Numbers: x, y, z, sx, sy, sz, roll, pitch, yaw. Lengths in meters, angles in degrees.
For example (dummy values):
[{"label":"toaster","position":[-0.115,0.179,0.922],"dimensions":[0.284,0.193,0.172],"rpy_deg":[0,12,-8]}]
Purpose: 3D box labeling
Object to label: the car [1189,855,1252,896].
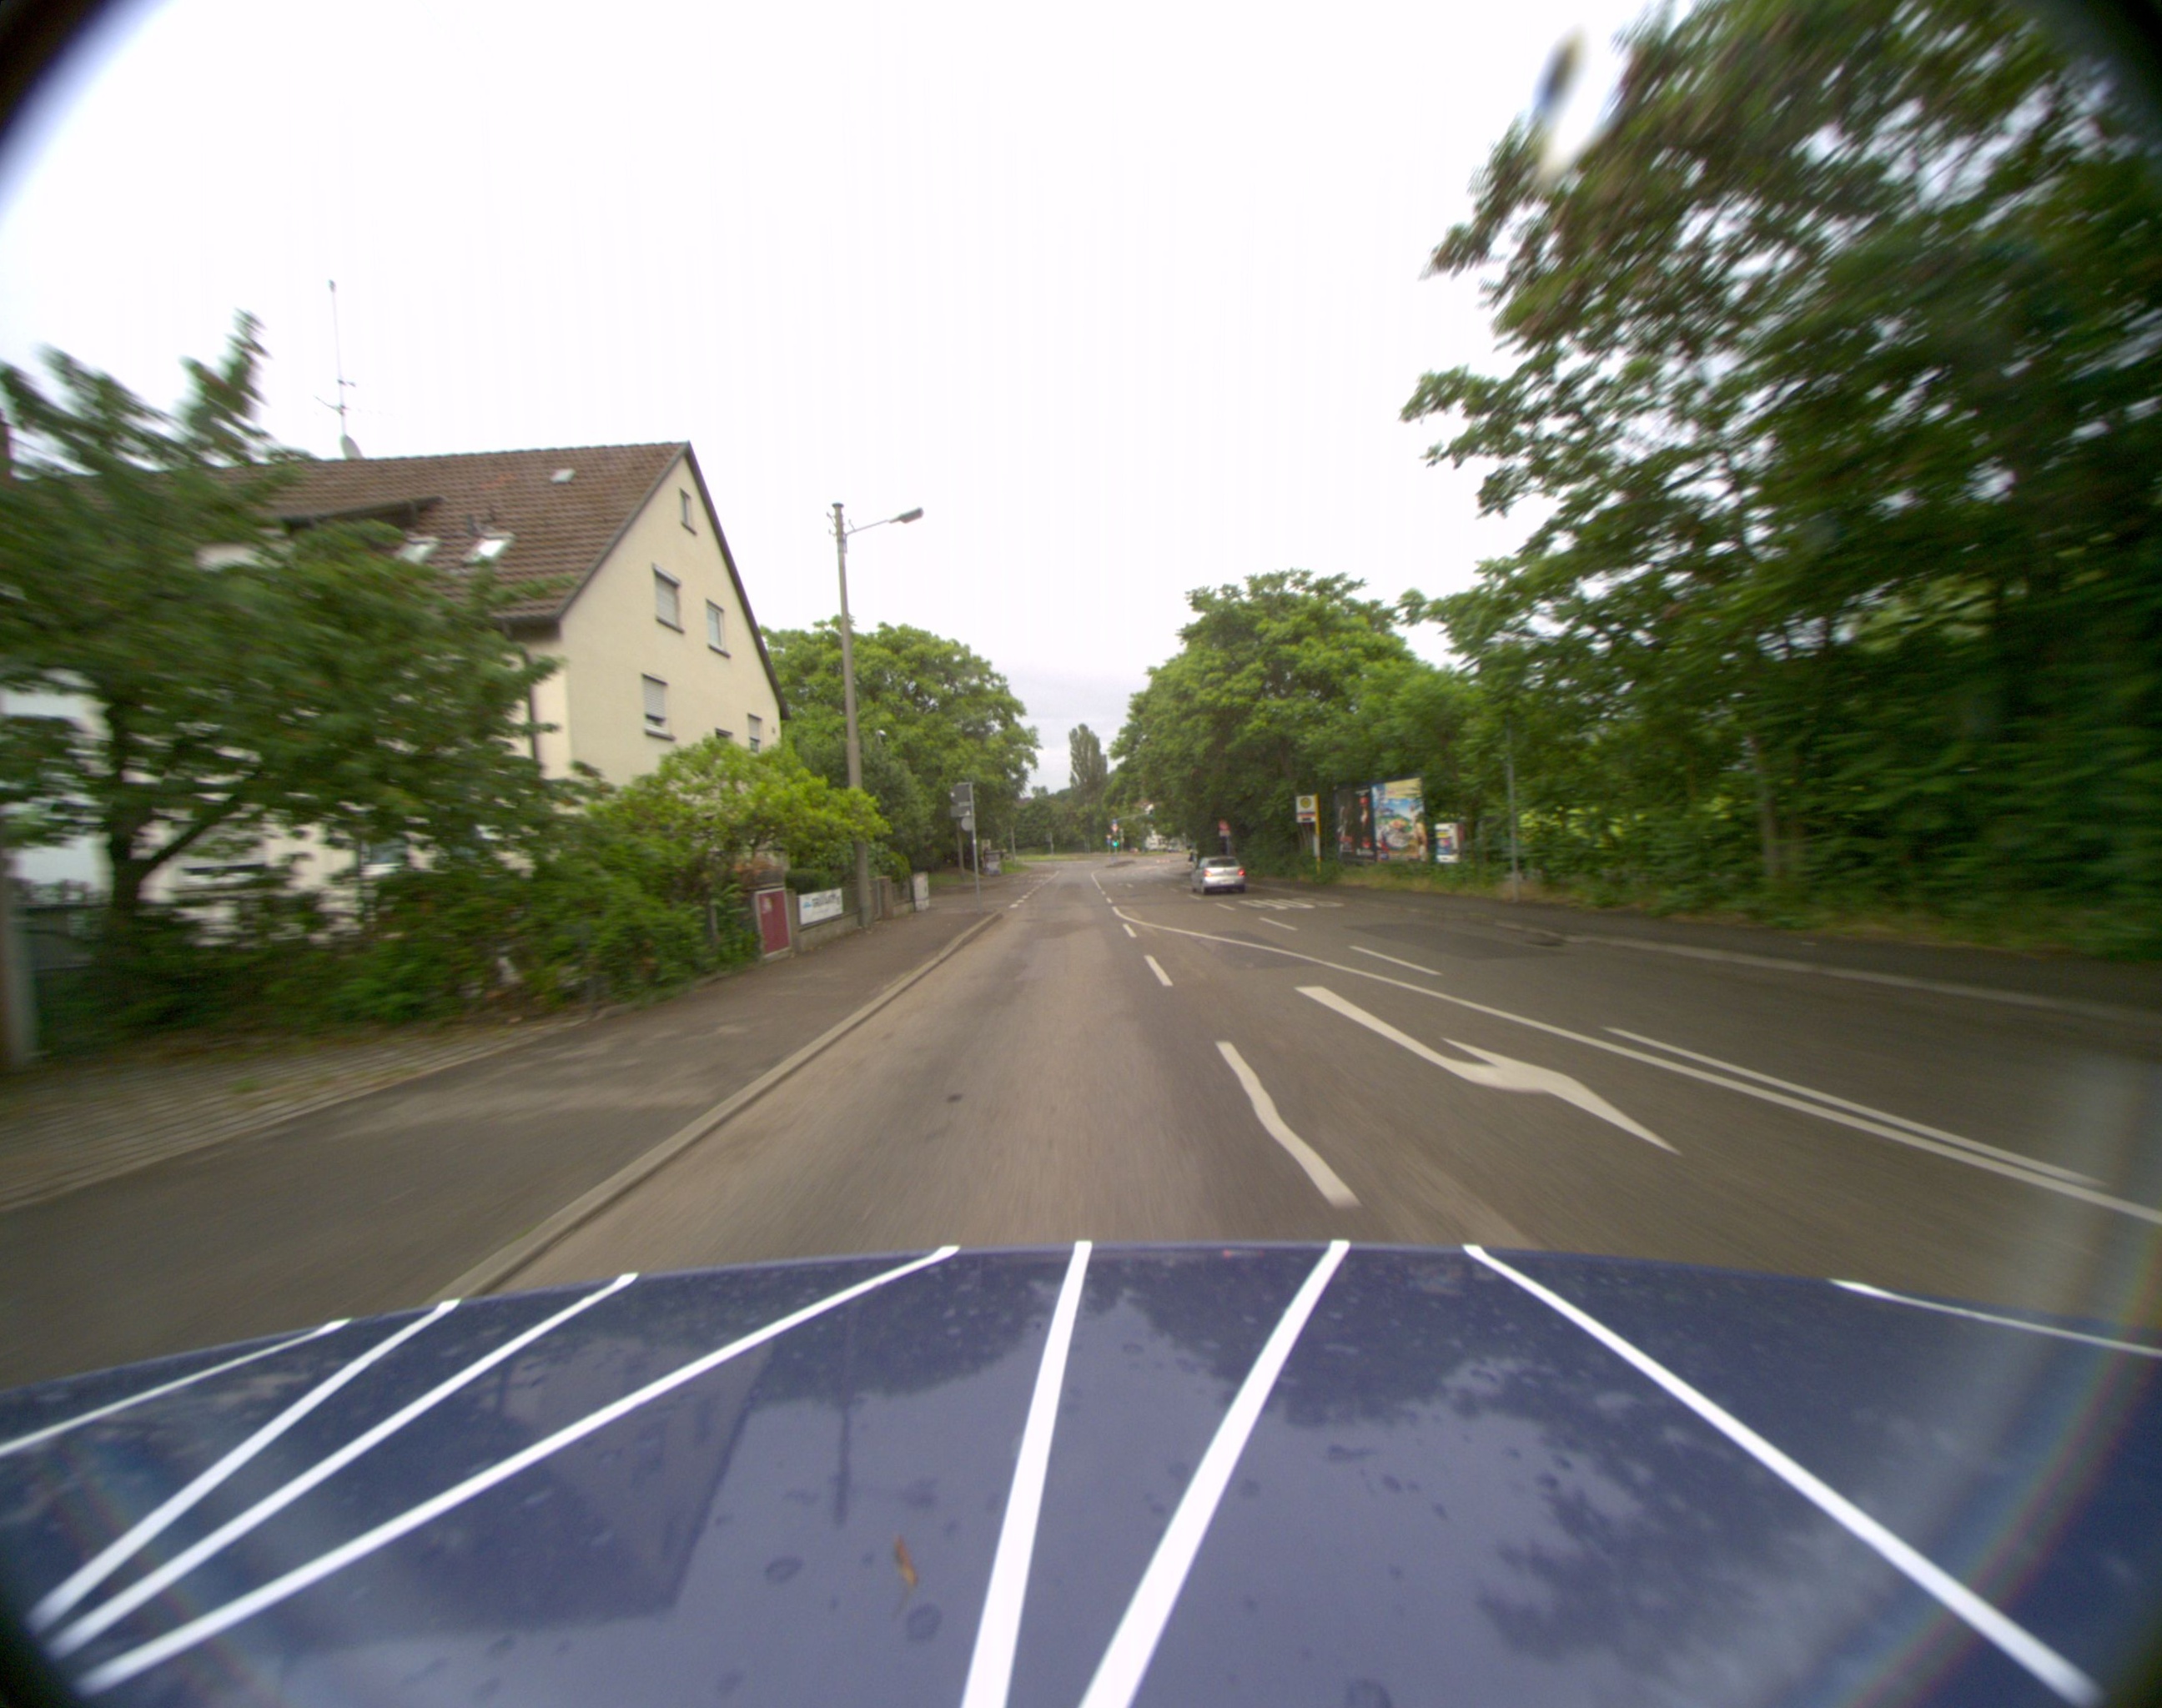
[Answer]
[{"label":"car","position":[5.439,0.795,30.134],"dimensions":[1.673,1.459,3.779],"rpy_deg":[-2,0,-1]}]
